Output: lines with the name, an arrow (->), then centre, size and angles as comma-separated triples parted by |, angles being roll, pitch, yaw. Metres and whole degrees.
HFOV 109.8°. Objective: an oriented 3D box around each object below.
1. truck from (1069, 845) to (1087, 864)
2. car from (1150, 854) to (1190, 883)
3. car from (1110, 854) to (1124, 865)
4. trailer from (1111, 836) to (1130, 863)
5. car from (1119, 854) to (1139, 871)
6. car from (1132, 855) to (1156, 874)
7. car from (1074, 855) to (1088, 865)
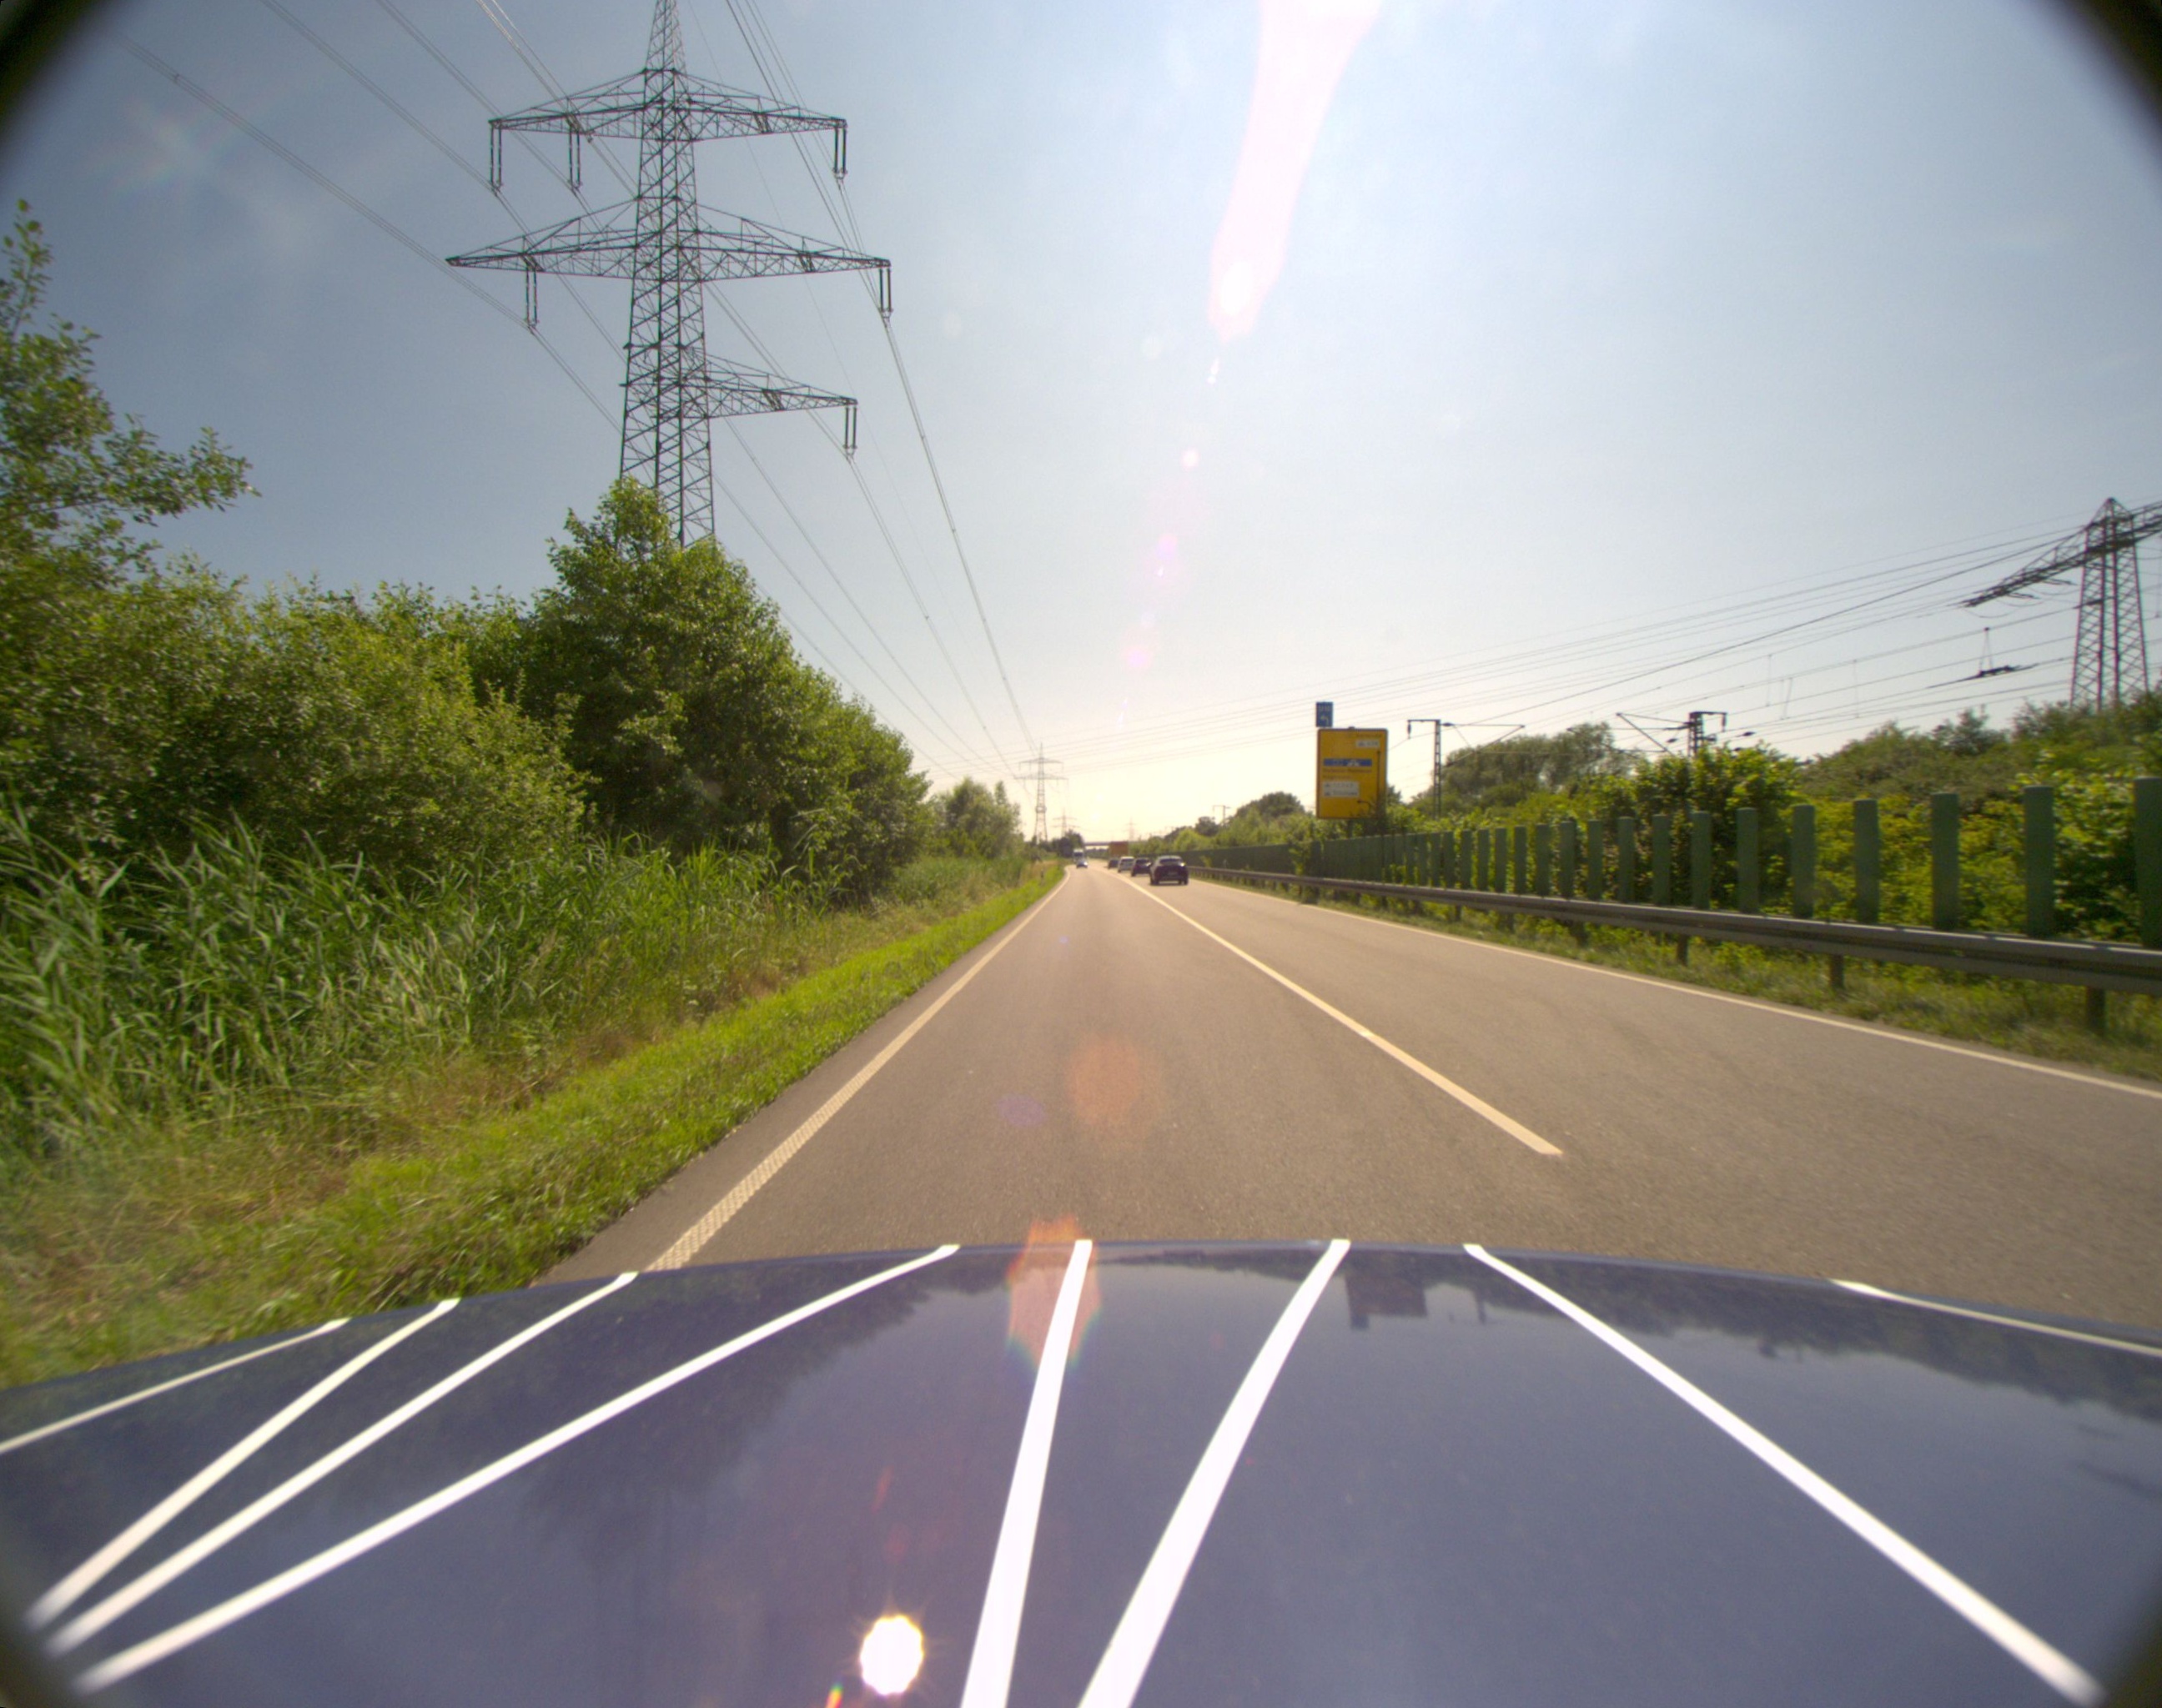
truck -> -0.688, 0.044, 198.178 | 4.219, 4.608, 21.303 | -2, 0, 0
car -> 4.795, 0.755, 41.478 | 1.677, 1.506, 4.289 | -1, 0, 0
car -> 4.724, 0.721, 99.908 | 1.618, 1.433, 3.794 | -1, 0, 0
trailer -> 6.129, -0.661, 120.332 | 2.554, 4.120, 9.228 | -1, 0, 1
car -> 4.801, 0.859, 77.015 | 1.829, 1.596, 4.323 | -1, 0, 1
car -> 4.940, 0.790, 59.945 | 1.510, 1.426, 3.742 | -1, 0, 0
car -> 0.010, 0.879, 116.218 | 1.998, 1.346, 4.157 | -2, 1, 0
